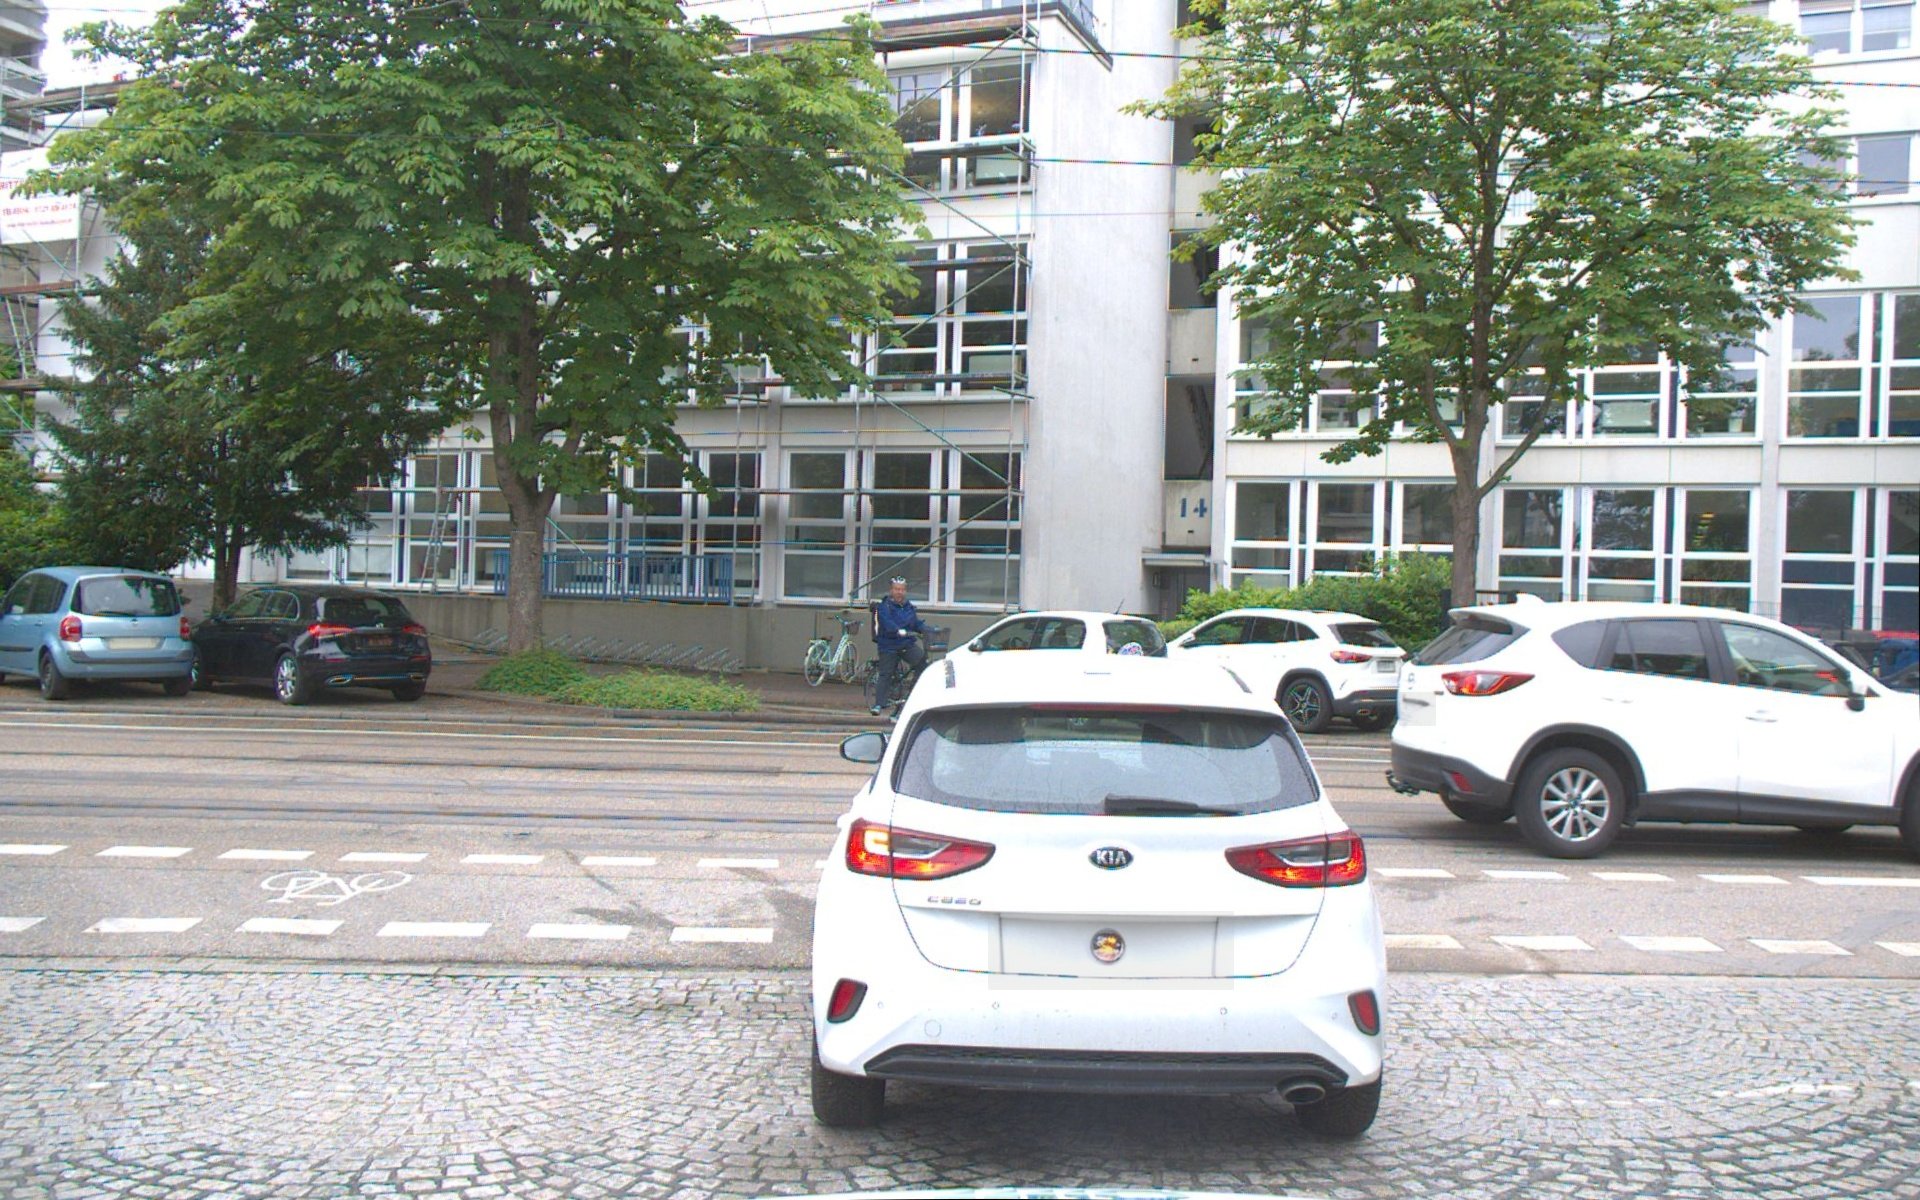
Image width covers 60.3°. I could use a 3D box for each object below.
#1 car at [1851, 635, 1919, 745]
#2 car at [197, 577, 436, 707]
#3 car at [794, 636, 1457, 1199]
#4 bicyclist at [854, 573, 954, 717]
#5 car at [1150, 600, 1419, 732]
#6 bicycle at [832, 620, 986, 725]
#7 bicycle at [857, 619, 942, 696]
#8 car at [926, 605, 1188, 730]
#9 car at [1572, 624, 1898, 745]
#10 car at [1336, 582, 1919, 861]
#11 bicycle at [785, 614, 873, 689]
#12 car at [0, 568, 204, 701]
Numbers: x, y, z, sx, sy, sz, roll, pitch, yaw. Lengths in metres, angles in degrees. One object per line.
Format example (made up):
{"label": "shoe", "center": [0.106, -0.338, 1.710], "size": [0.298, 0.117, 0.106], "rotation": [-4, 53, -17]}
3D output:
{"label": "car", "center": [14.329, 1.266, 22.839], "size": [3.331, 1.499, 1.407], "rotation": [1, -1, 43]}
{"label": "car", "center": [-8.342, 0.494, 21.353], "size": [3.279, 1.537, 1.608], "rotation": [1, -1, 43]}
{"label": "car", "center": [0.517, 0.889, 6.373], "size": [1.738, 1.458, 3.979], "rotation": [1, -1, 2]}
{"label": "bicyclist", "center": [-0.700, 0.547, 20.614], "size": [0.882, 1.727, 0.828], "rotation": [1, 0, 44]}
{"label": "car", "center": [4.400, 0.850, 22.690], "size": [1.545, 1.646, 3.352], "rotation": [1, -1, -44]}
{"label": "bicycle", "center": [-0.652, 0.876, 20.585], "size": [1.883, 1.194, 0.816], "rotation": [2, 0, 44]}
{"label": "bicycle", "center": [-0.992, 0.944, 27.926], "size": [0.631, 1.093, 2.313], "rotation": [1, 3, 19]}
{"label": "car", "center": [1.248, 0.849, 22.180], "size": [1.545, 1.499, 3.352], "rotation": [1, -1, -44]}
{"label": "car", "center": [10.869, 1.120, 23.322], "size": [3.881, 1.499, 1.665], "rotation": [1, 0, 40]}
{"label": "car", "center": [5.183, 0.816, 11.815], "size": [4.493, 1.733, 1.999], "rotation": [2, 0, -2]}
{"label": "bicycle", "center": [-2.219, 0.863, 28.397], "size": [0.631, 1.093, 2.313], "rotation": [1, 3, 19]}
{"label": "car", "center": [-11.223, 0.398, 21.235], "size": [3.279, 1.564, 1.608], "rotation": [1, 0, 43]}
